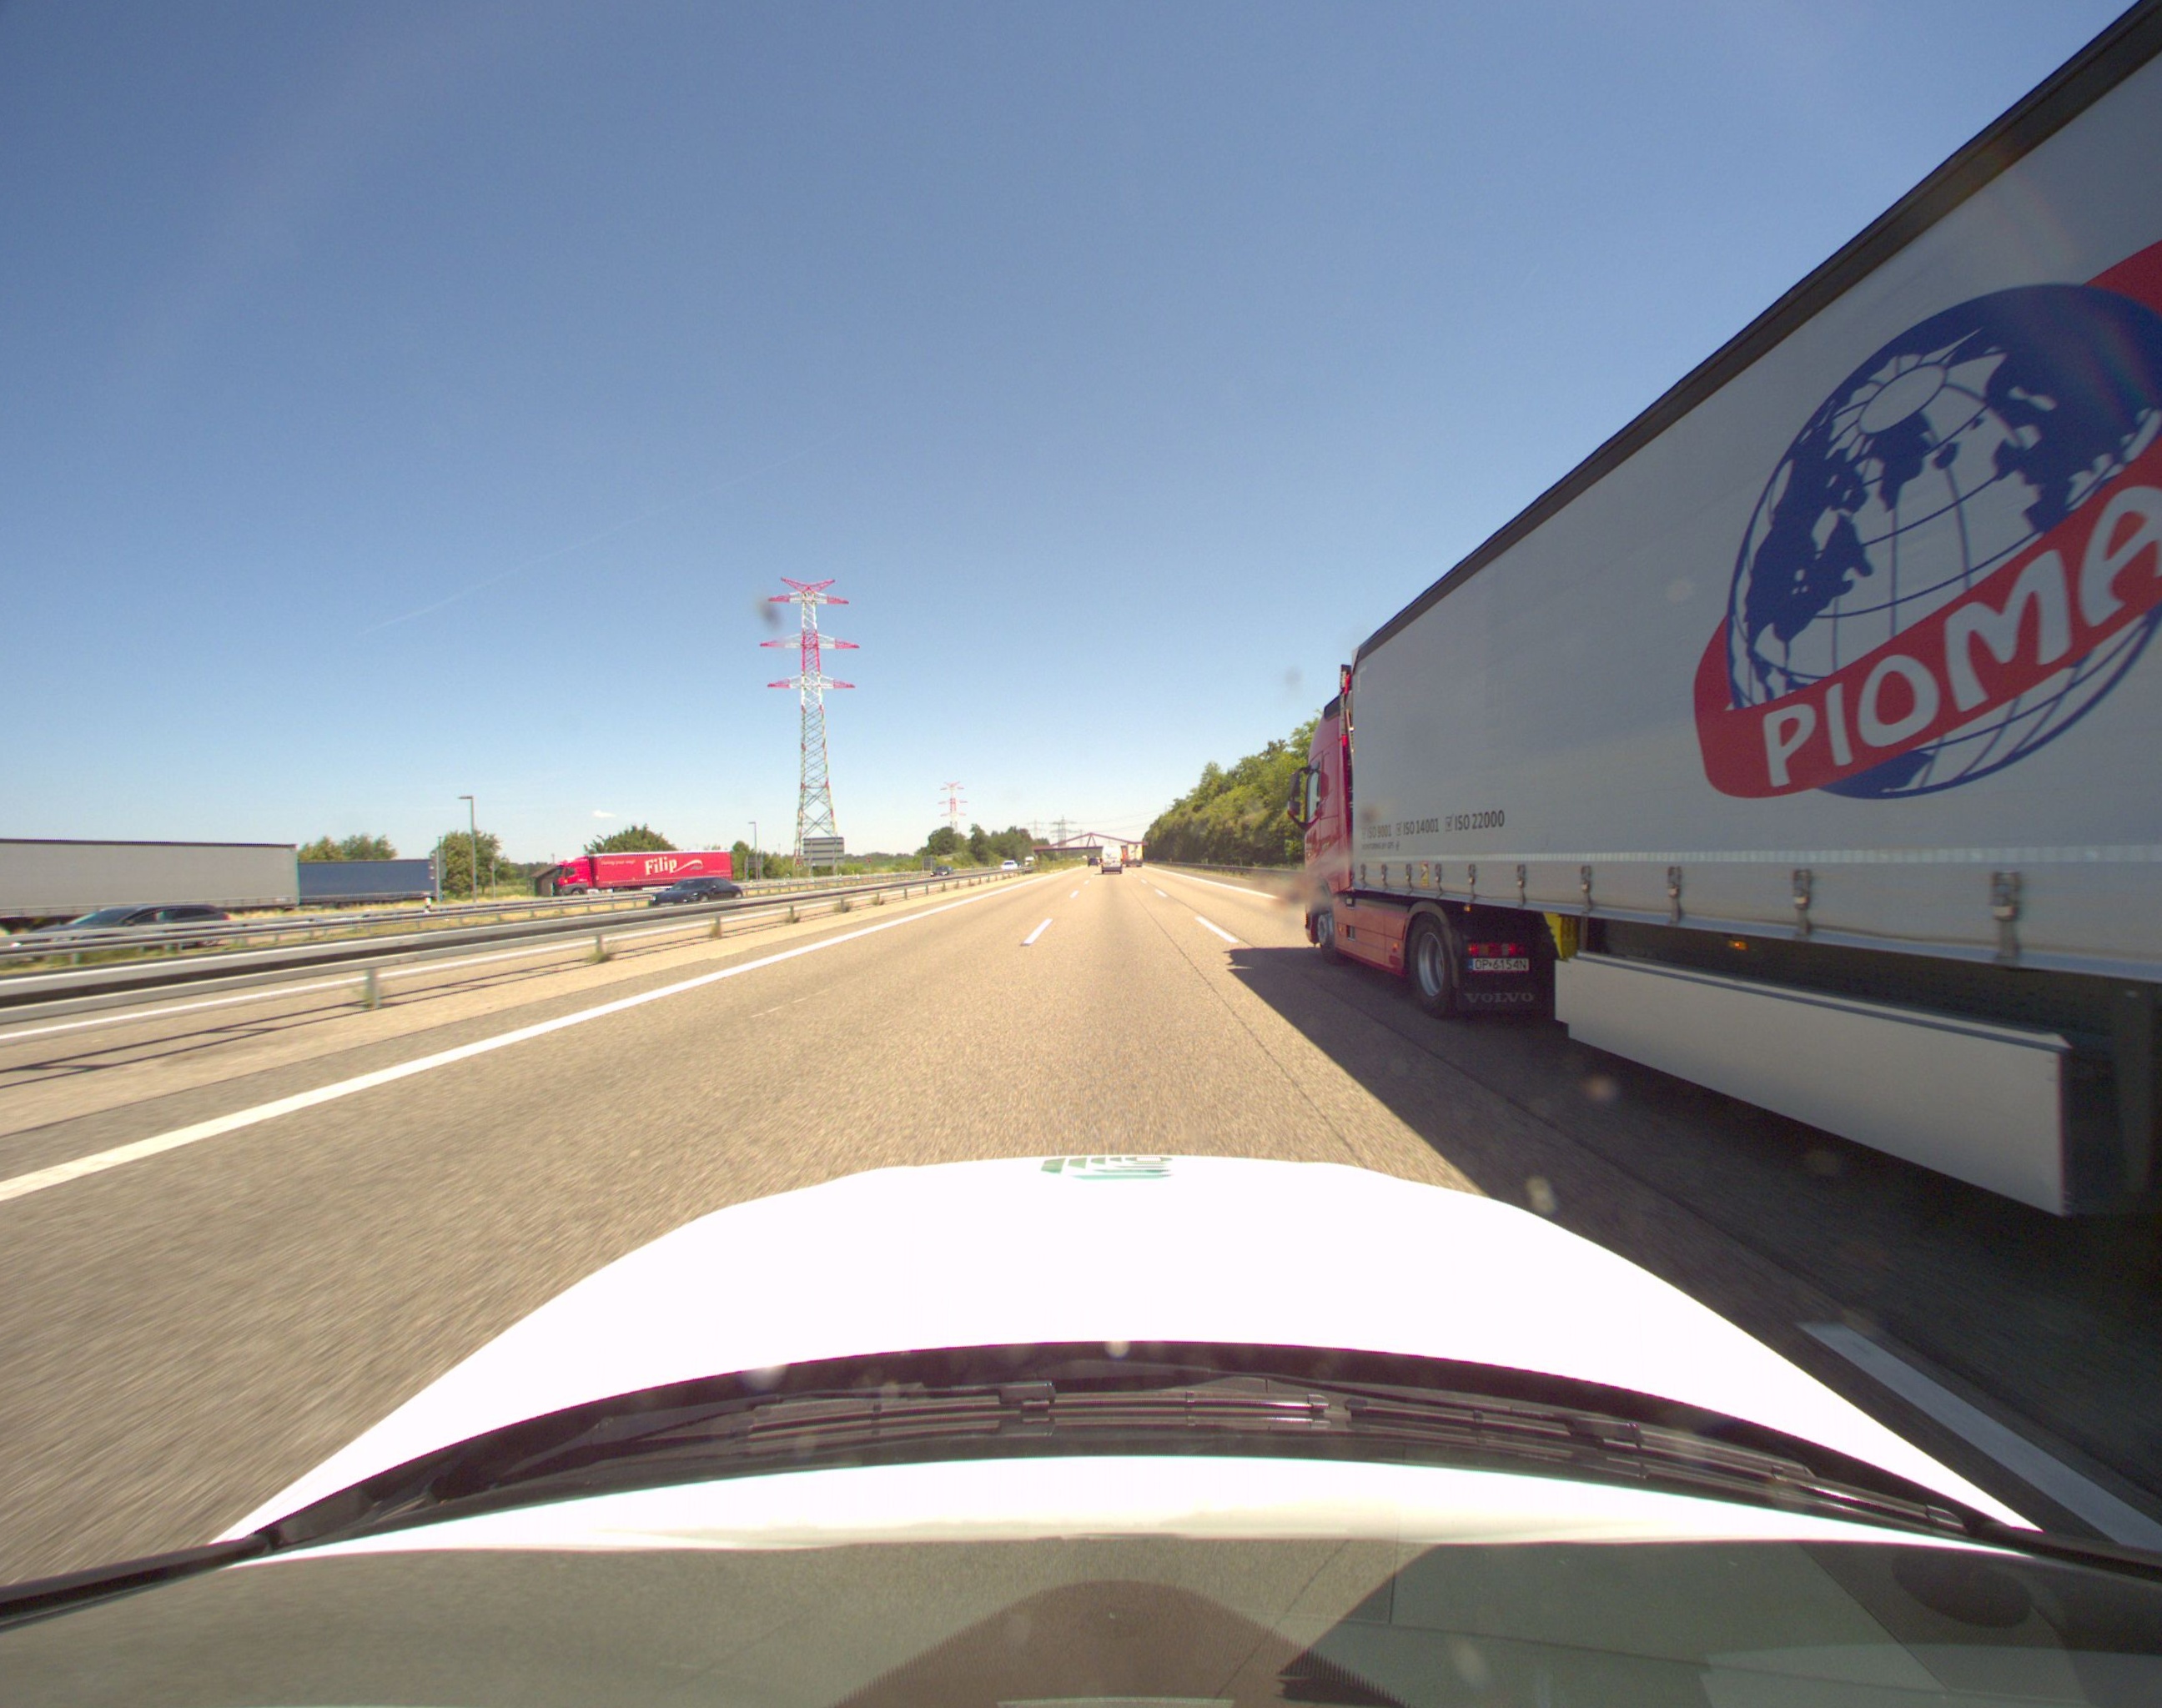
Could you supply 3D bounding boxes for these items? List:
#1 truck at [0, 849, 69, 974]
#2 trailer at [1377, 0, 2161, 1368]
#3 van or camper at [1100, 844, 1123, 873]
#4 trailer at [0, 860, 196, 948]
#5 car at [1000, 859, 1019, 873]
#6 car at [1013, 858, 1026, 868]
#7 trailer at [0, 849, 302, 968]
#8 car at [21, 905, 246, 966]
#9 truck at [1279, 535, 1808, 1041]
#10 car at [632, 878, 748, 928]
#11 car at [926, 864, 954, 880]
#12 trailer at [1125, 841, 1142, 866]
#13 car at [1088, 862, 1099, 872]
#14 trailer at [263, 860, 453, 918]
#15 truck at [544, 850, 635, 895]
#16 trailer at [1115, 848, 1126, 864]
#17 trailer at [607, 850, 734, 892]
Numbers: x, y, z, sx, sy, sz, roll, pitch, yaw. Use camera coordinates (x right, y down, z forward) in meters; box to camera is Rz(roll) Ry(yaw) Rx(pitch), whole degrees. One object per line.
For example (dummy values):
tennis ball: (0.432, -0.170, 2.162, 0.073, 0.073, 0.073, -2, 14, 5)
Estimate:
truck: (-43.778, 2.220, 29.929, 3.286, 4.850, 7.633, 0, 0, 4)
trailer: (4.261, -0.518, 1.573, 2.481, 3.909, 14.249, -1, 0, 1)
van or camper: (2.999, 0.406, 80.865, 2.222, 2.782, 5.425, 0, 0, 2)
trailer: (-55.581, 2.518, 42.860, 3.287, 4.357, 12.932, 0, 0, 3)
car: (-8.795, 1.489, 101.137, 1.711, 1.529, 4.668, -4, 0, 2)
car: (-11.643, 1.724, 154.061, 1.947, 1.810, 5.047, 0, 0, 1)
trailer: (-43.161, 2.247, 38.266, 3.286, 4.875, 9.693, 0, 0, 4)
car: (-29.769, 2.508, 25.853, 1.806, 1.489, 4.510, 0, 0, 1)
truck: (4.467, -0.500, 9.912, 2.490, 3.920, 7.098, -1, 0, 1)
car: (-15.010, 1.818, 31.613, 1.965, 1.647, 5.018, 0, 0, 1)
car: (-14.177, 1.804, 82.106, 1.862, 1.398, 4.547, -4, 0, 2)
trailer: (8.966, -0.064, 139.993, 2.627, 4.060, 12.374, 0, 0, 3)
car: (2.417, 2.548, 158.209, 1.974, 1.817, 3.816, 0, 0, 4)
trailer: (-57.122, 2.651, 64.916, 11.118, 4.266, 3.130, 0, -1, -39)
truck: (-46.272, 1.648, 76.871, 3.087, 4.049, 6.688, 0, -1, 36)
trailer: (9.946, 0.447, 204.640, 2.627, 3.897, 7.073, 0, 0, 3)
trailer: (-41.691, 1.668, 83.252, 3.091, 4.055, 11.385, 0, 0, 36)
